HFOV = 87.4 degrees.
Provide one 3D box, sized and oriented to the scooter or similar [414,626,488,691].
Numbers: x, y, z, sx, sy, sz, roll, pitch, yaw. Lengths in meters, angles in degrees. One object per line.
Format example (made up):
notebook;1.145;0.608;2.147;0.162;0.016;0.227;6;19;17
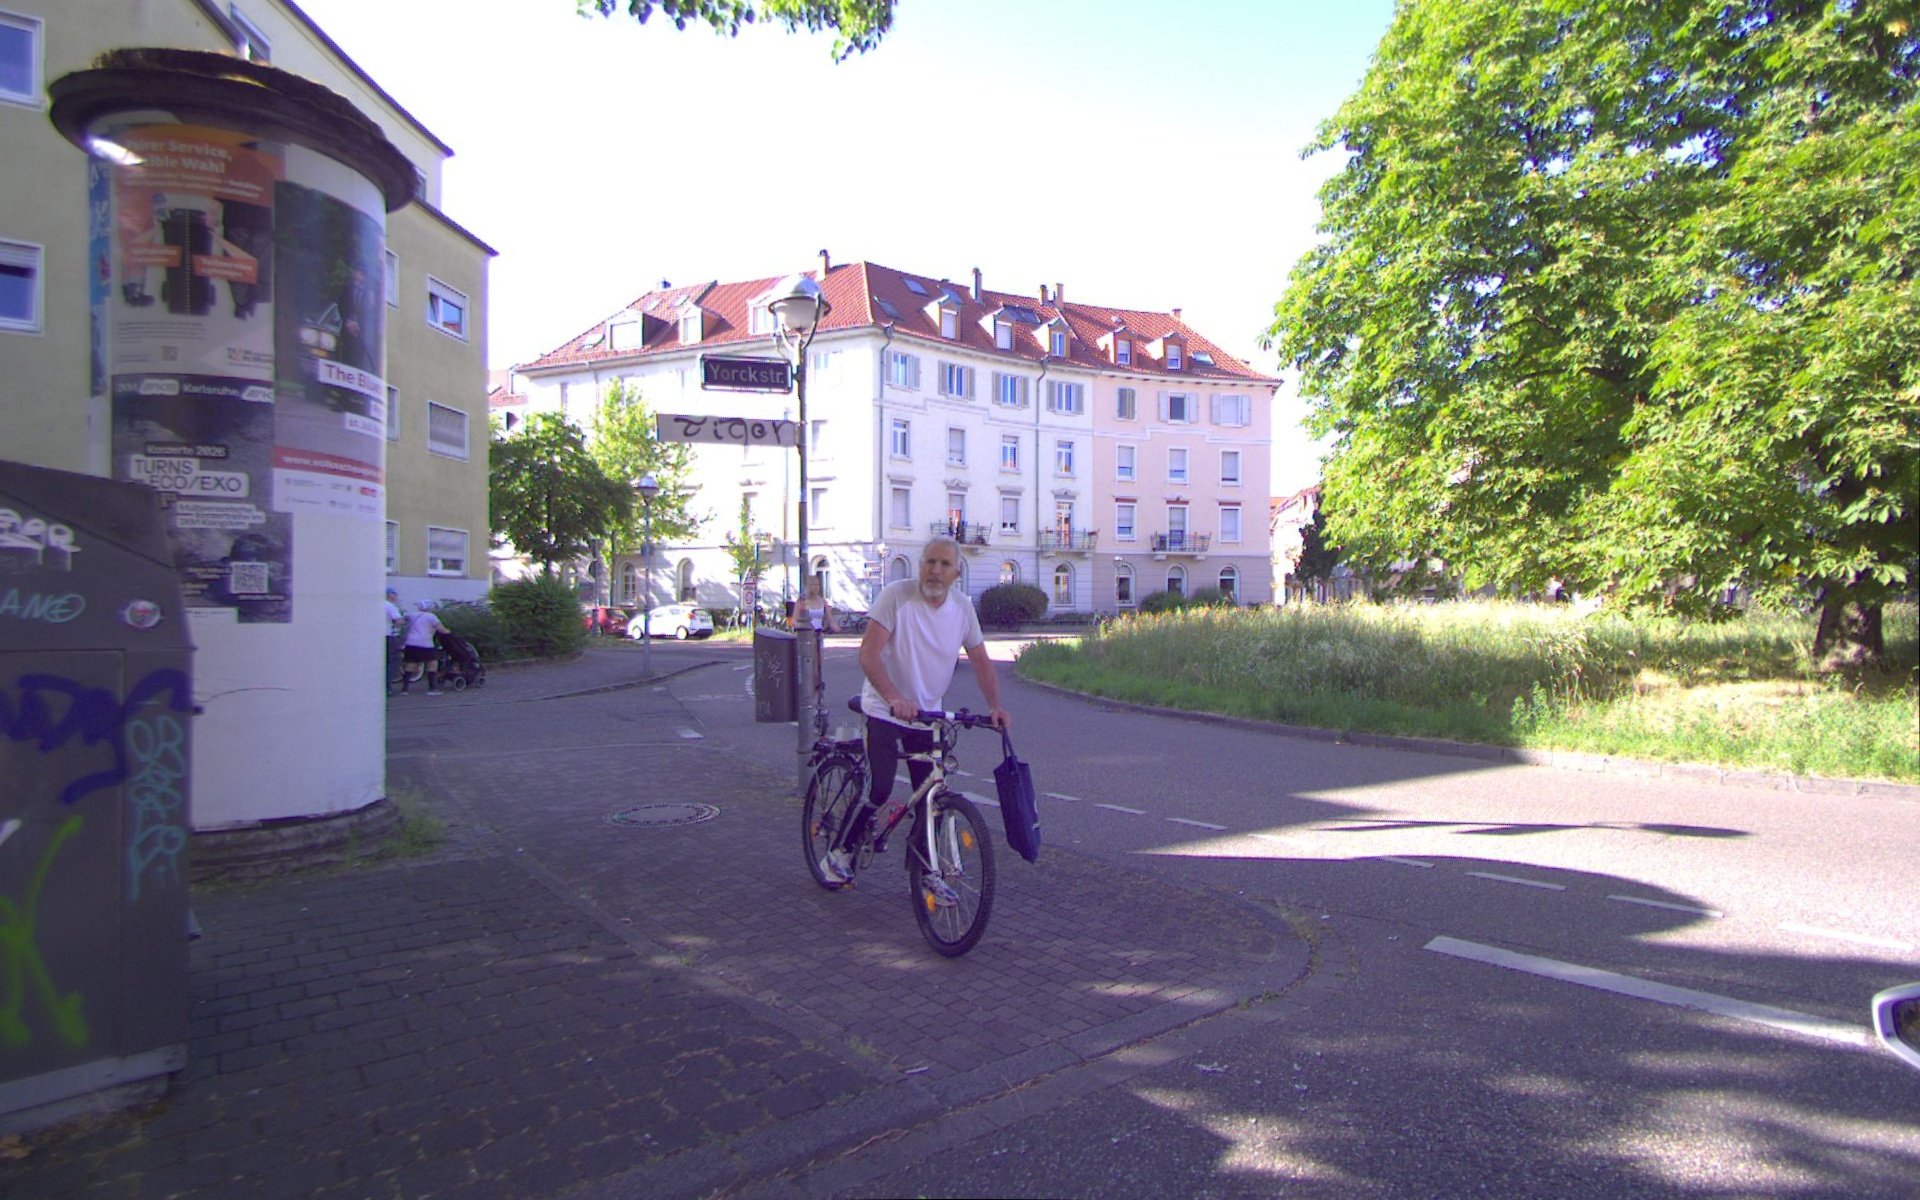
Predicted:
scooter or similar;-8.618;0.982;17.026;0.876;1.050;0.711;0;0;0

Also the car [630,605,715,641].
car;-12.455;0.974;43.535;3.337;1.485;1.488;0;0;19

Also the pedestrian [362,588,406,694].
pedestrian;-9.200;0.640;16.047;0.409;1.664;0.534;0;0;-5

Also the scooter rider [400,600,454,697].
scooter rider;-8.671;0.781;16.364;0.595;1.549;0.525;0;0;1

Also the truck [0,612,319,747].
truck;-9.948;0.882;12.330;3.384;1.455;1.518;0;0;-39

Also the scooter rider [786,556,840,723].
scooter rider;-1.784;0.462;12.138;0.548;1.959;0.615;0;0;-18

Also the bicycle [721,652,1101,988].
bicycle;-0.317;0.867;4.670;0.661;1.159;1.939;0;0;-44

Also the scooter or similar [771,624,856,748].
scooter or similar;-1.808;0.966;12.136;0.556;1.328;2.113;0;0;-21

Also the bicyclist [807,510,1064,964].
bicyclist;-0.115;0.548;4.590;0.876;1.808;0.794;0;0;44

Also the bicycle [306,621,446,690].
bicycle;-10.122;0.931;17.507;0.481;1.087;2.136;0;0;32

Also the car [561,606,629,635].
car;-16.379;0.919;45.082;2.788;1.261;1.216;0;0;21

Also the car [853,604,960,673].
car;-1.303;0.932;26.184;1.959;1.628;4.129;0;0;9
